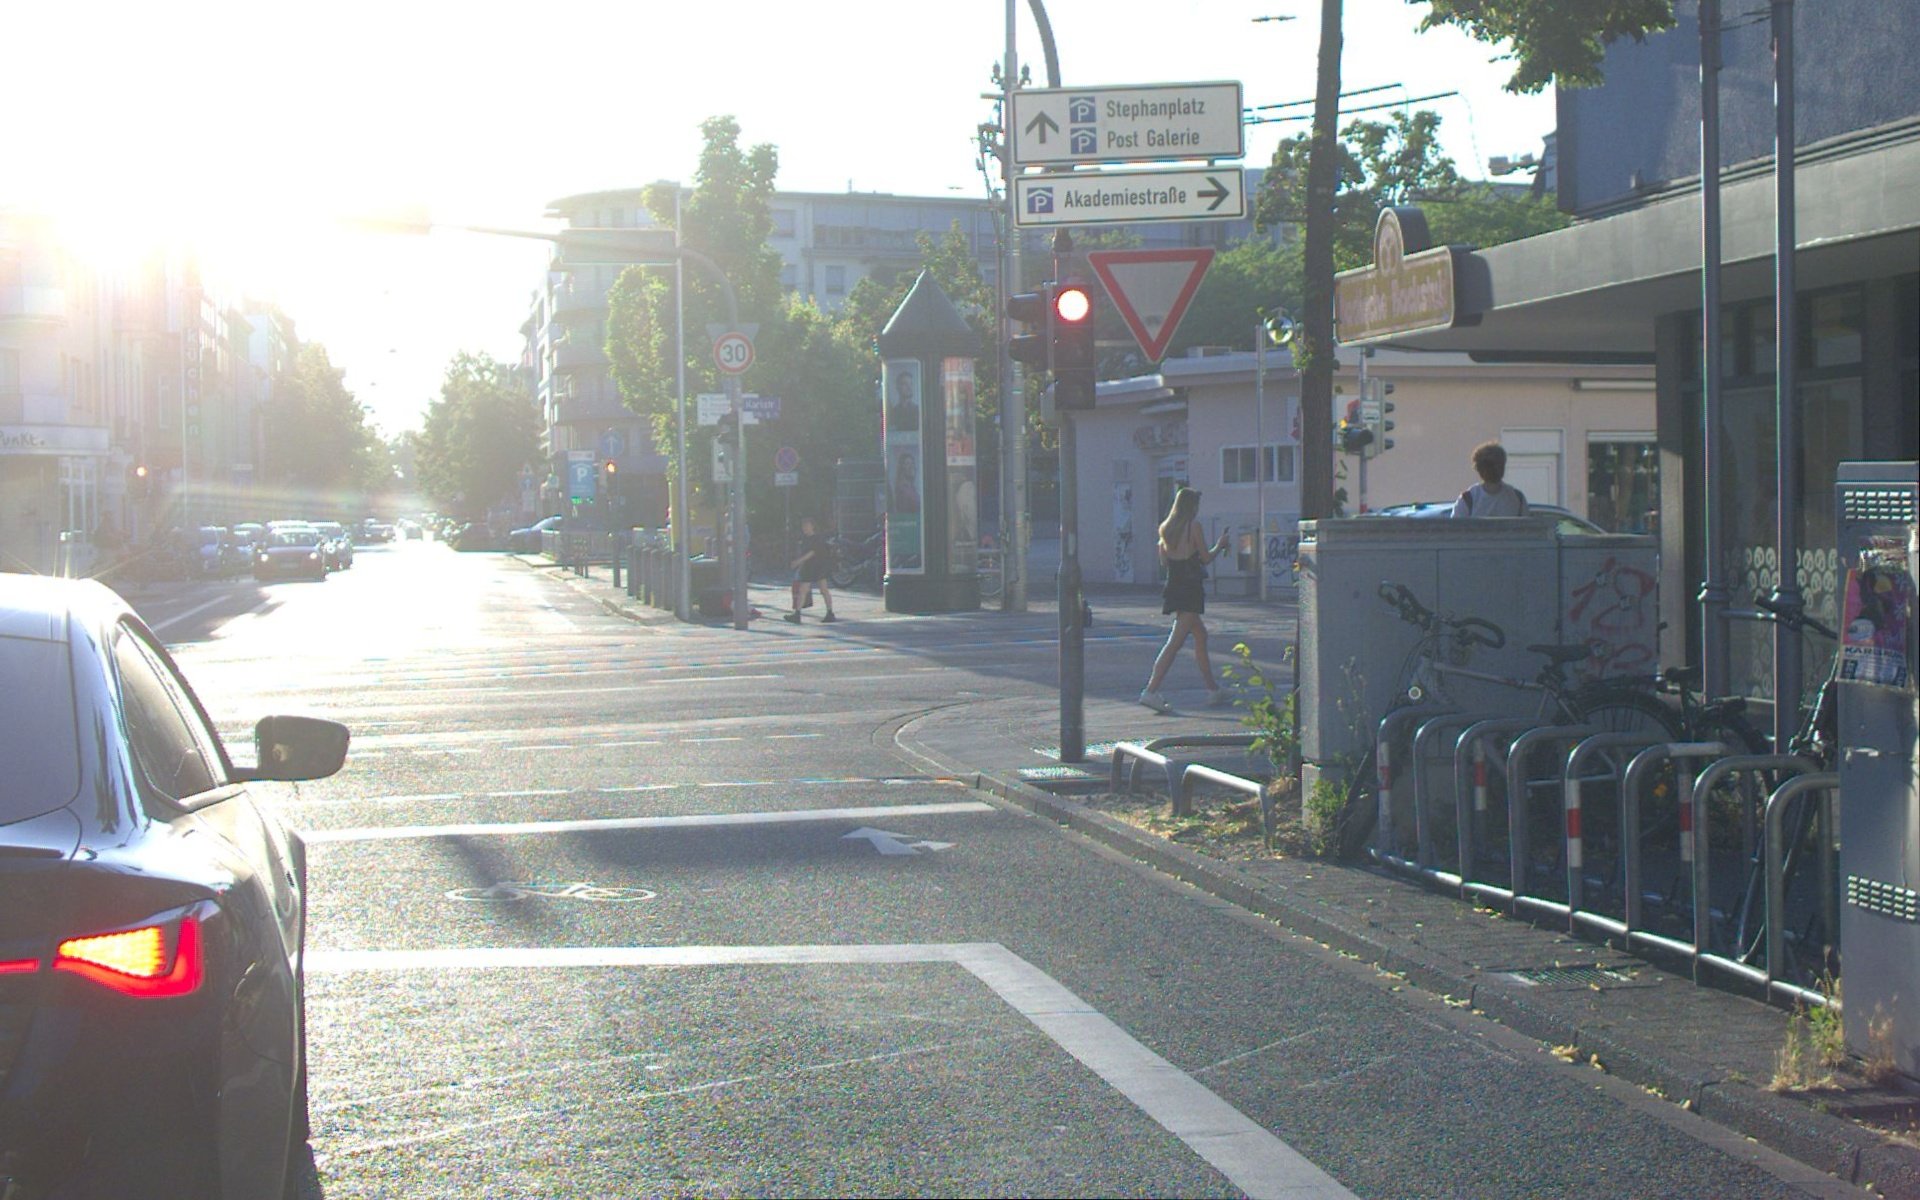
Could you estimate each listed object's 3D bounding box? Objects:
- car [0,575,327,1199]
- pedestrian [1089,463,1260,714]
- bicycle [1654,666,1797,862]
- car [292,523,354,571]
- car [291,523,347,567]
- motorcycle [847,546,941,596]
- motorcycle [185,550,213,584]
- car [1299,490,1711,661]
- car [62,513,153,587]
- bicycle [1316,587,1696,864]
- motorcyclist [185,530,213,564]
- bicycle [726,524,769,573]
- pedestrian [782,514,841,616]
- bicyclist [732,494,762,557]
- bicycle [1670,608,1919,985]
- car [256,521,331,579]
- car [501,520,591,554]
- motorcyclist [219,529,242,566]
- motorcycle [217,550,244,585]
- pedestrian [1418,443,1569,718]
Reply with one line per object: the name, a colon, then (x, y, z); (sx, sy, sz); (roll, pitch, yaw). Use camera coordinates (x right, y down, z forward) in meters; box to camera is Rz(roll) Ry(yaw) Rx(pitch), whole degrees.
car: (-2.111, 0.695, 6.501); (1.736, 1.424, 4.225); (0, 1, -10)
pedestrian: (1.678, -0.102, 26.897); (1.001, 1.854, 0.640); (-7, 4, -28)
bicycle: (3.383, 0.711, 15.245); (0.249, 0.793, 1.116); (1, 1, -7)
car: (-20.904, -1.747, 112.965); (1.817, 1.514, 4.001); (-1, 2, -8)
car: (-22.964, -1.973, 123.262); (1.817, 1.514, 4.001); (-1, 2, -8)
motorcycle: (-1.306, -0.573, 67.863); (1.668, 0.935, 0.856); (-1, 2, -19)
motorcycle: (-20.837, -0.916, 94.155); (0.575, 0.912, 2.201); (1, 1, -8)
car: (5.873, -0.302, 36.859); (4.278, 1.701, 1.805); (-2, 2, -34)
car: (-21.570, -1.282, 87.114); (1.817, 1.782, 4.001); (-1, 1, -8)
bicycle: (2.405, 0.543, 15.158); (1.612, 1.167, 0.318); (-1, 1, -6)
motorcyclist: (-20.828, -1.445, 94.140); (0.575, 0.912, 2.201); (1, 1, -8)
bicycle: (-5.069, -1.219, 81.965); (0.550, 1.155, 2.145); (0, 1, -17)
pedestrian: (-2.221, -0.525, 51.510); (0.732, 1.524, 0.472); (0, 1, -29)
bicyclist: (-5.081, -1.773, 82.012); (0.550, 1.476, 0.723); (0, 0, -17)
bicycle: (3.128, 0.646, 11.427); (1.440, 1.216, 0.383); (1, 1, -7)
car: (-18.325, -1.402, 94.672); (1.817, 1.514, 4.001); (-1, 2, -8)
car: (-19.692, -3.011, 163.539); (3.986, 1.514, 1.824); (-2, 1, -15)
motorcyclist: (-19.874, -1.424, 93.672); (0.575, 0.992, 0.703); (1, 1, -8)
motorcycle: (-19.900, -0.897, 93.780); (0.575, 0.912, 2.201); (1, 1, -8)
pedestrian: (3.655, -0.142, 23.584); (0.835, 1.835, 0.679); (-1, 1, -8)
